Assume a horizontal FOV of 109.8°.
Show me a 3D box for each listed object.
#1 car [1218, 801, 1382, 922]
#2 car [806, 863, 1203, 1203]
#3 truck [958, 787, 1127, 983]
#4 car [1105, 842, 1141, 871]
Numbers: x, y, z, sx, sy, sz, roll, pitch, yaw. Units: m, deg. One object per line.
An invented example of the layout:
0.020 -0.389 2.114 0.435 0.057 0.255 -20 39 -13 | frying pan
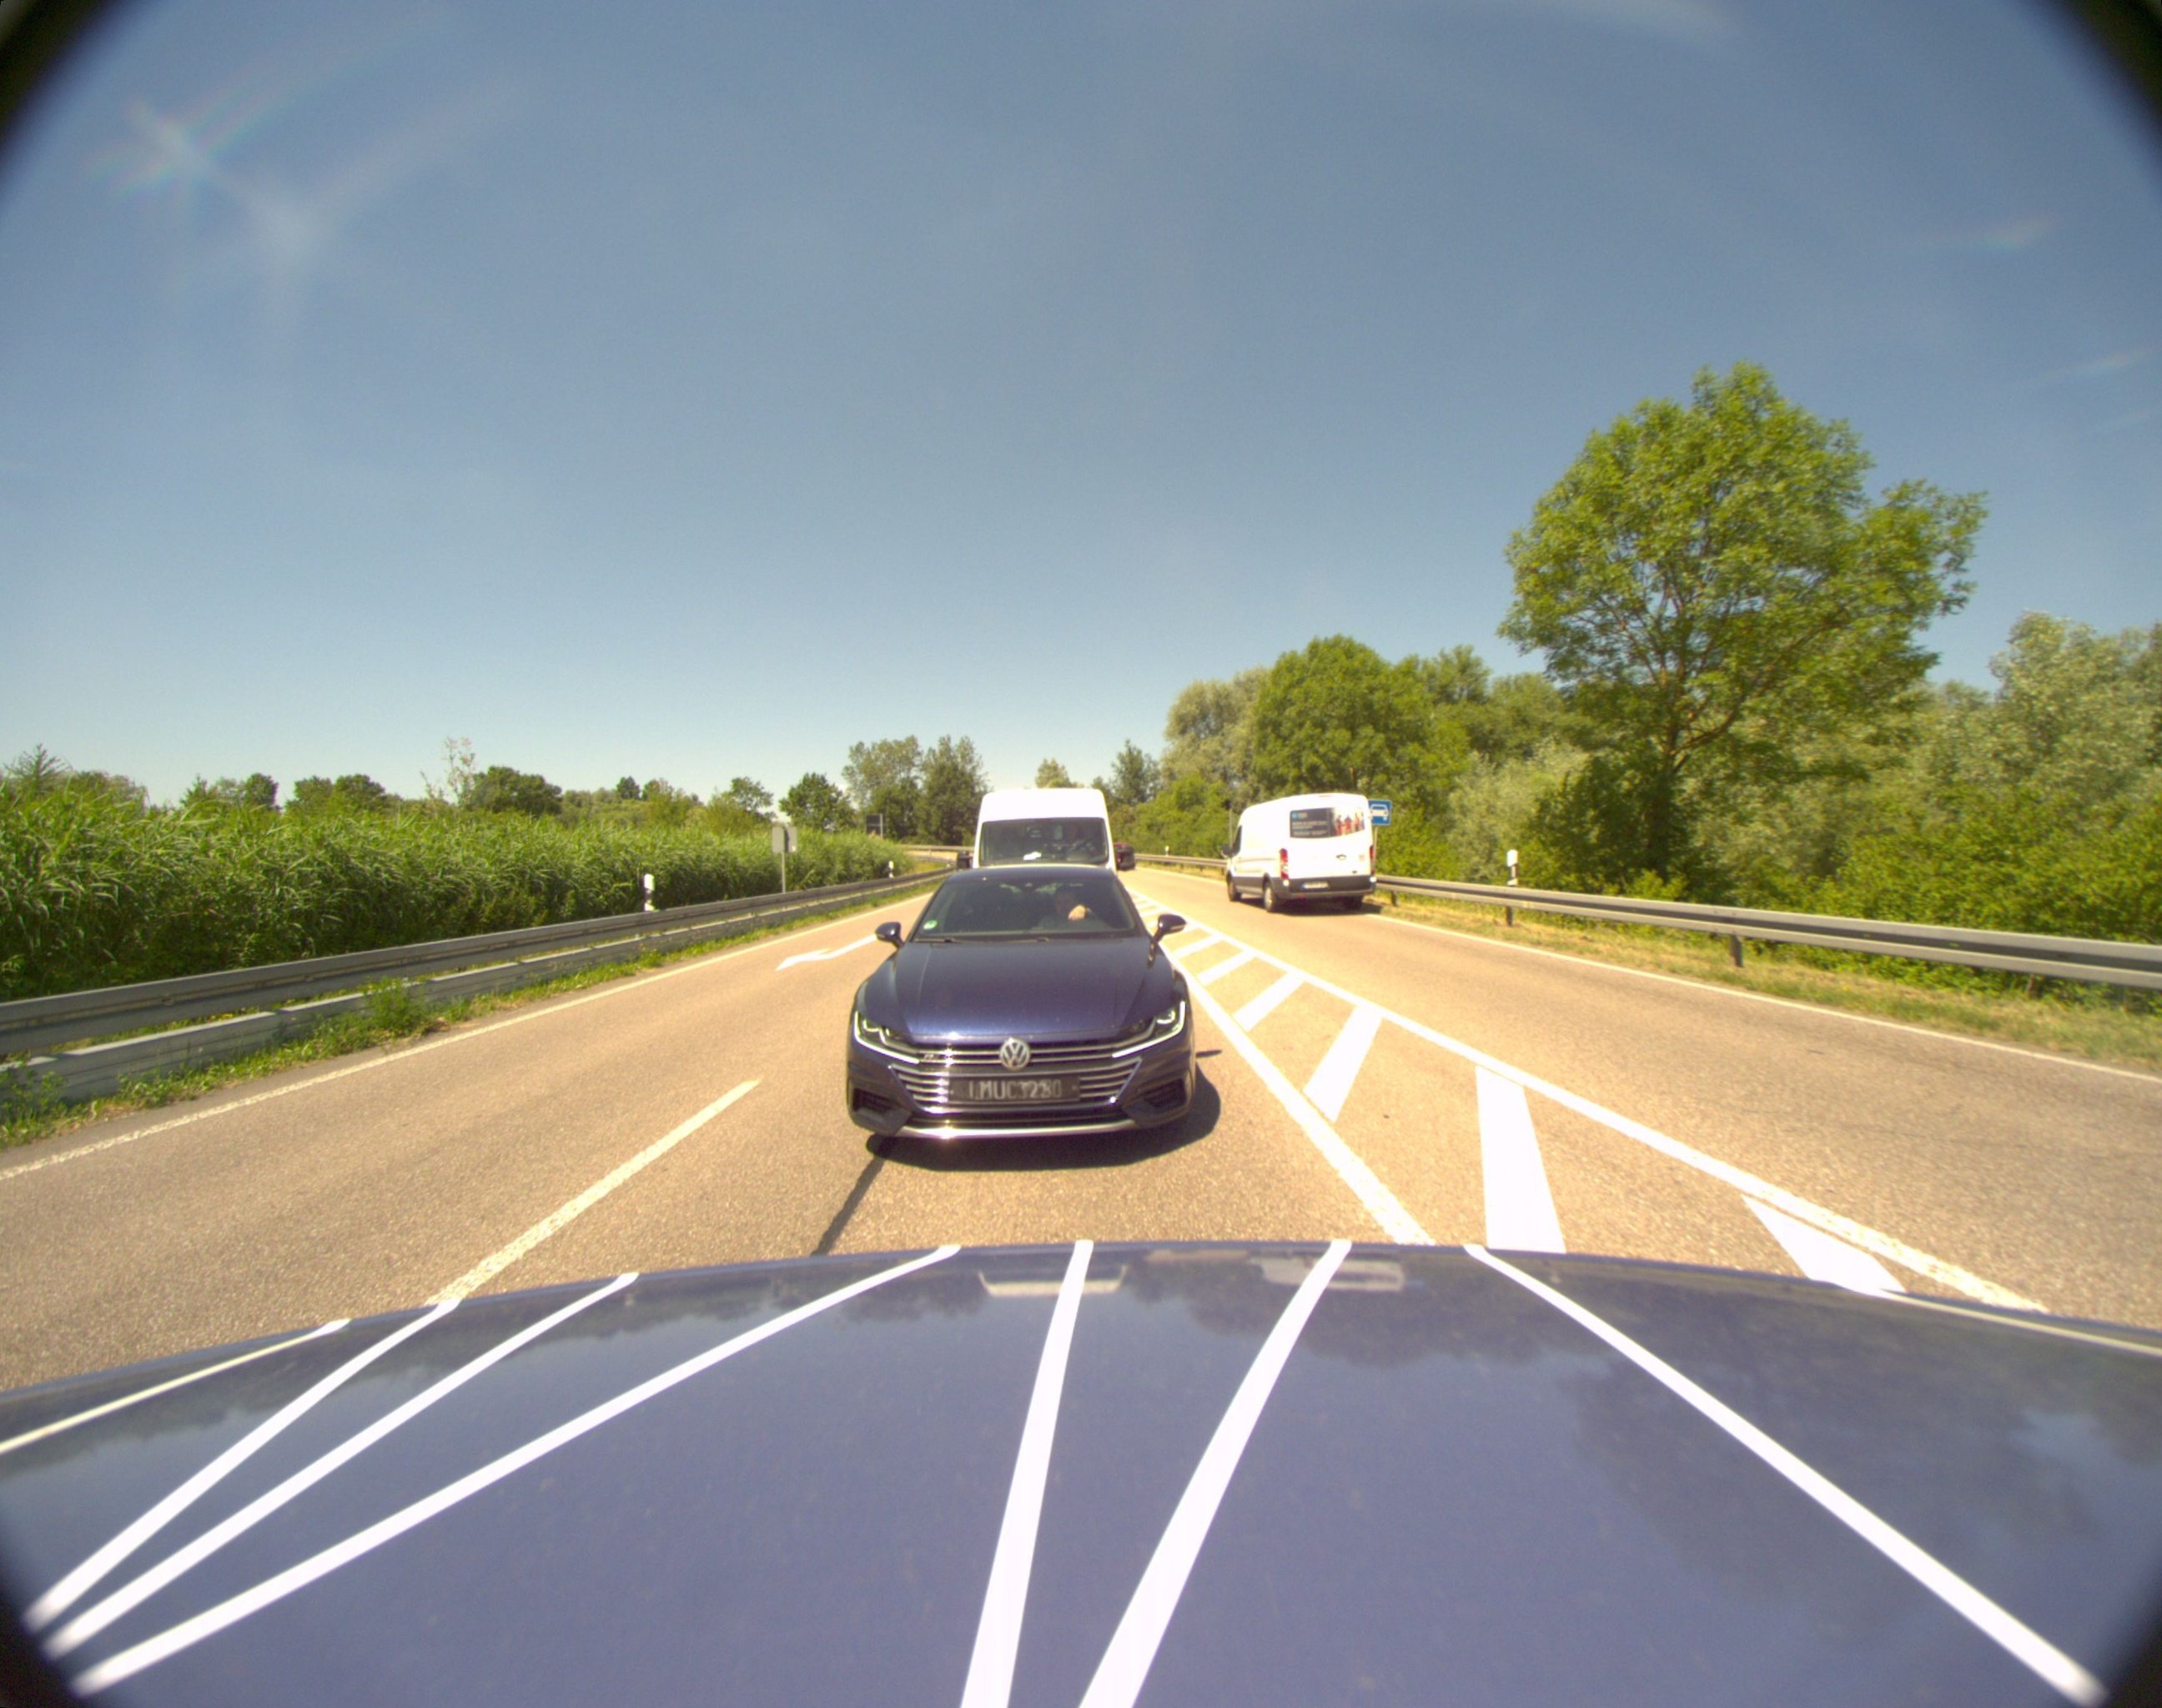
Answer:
4.907 0.095 18.022 1.999 2.403 5.587 -1 1 -3 | car
-0.331 0.866 5.761 1.819 1.454 4.415 -1 1 1 | car
-0.649 0.345 12.296 2.011 2.365 5.909 -2 1 -4 | truck
2.499 0.143 45.870 1.741 1.676 4.207 0 1 -2 | car
